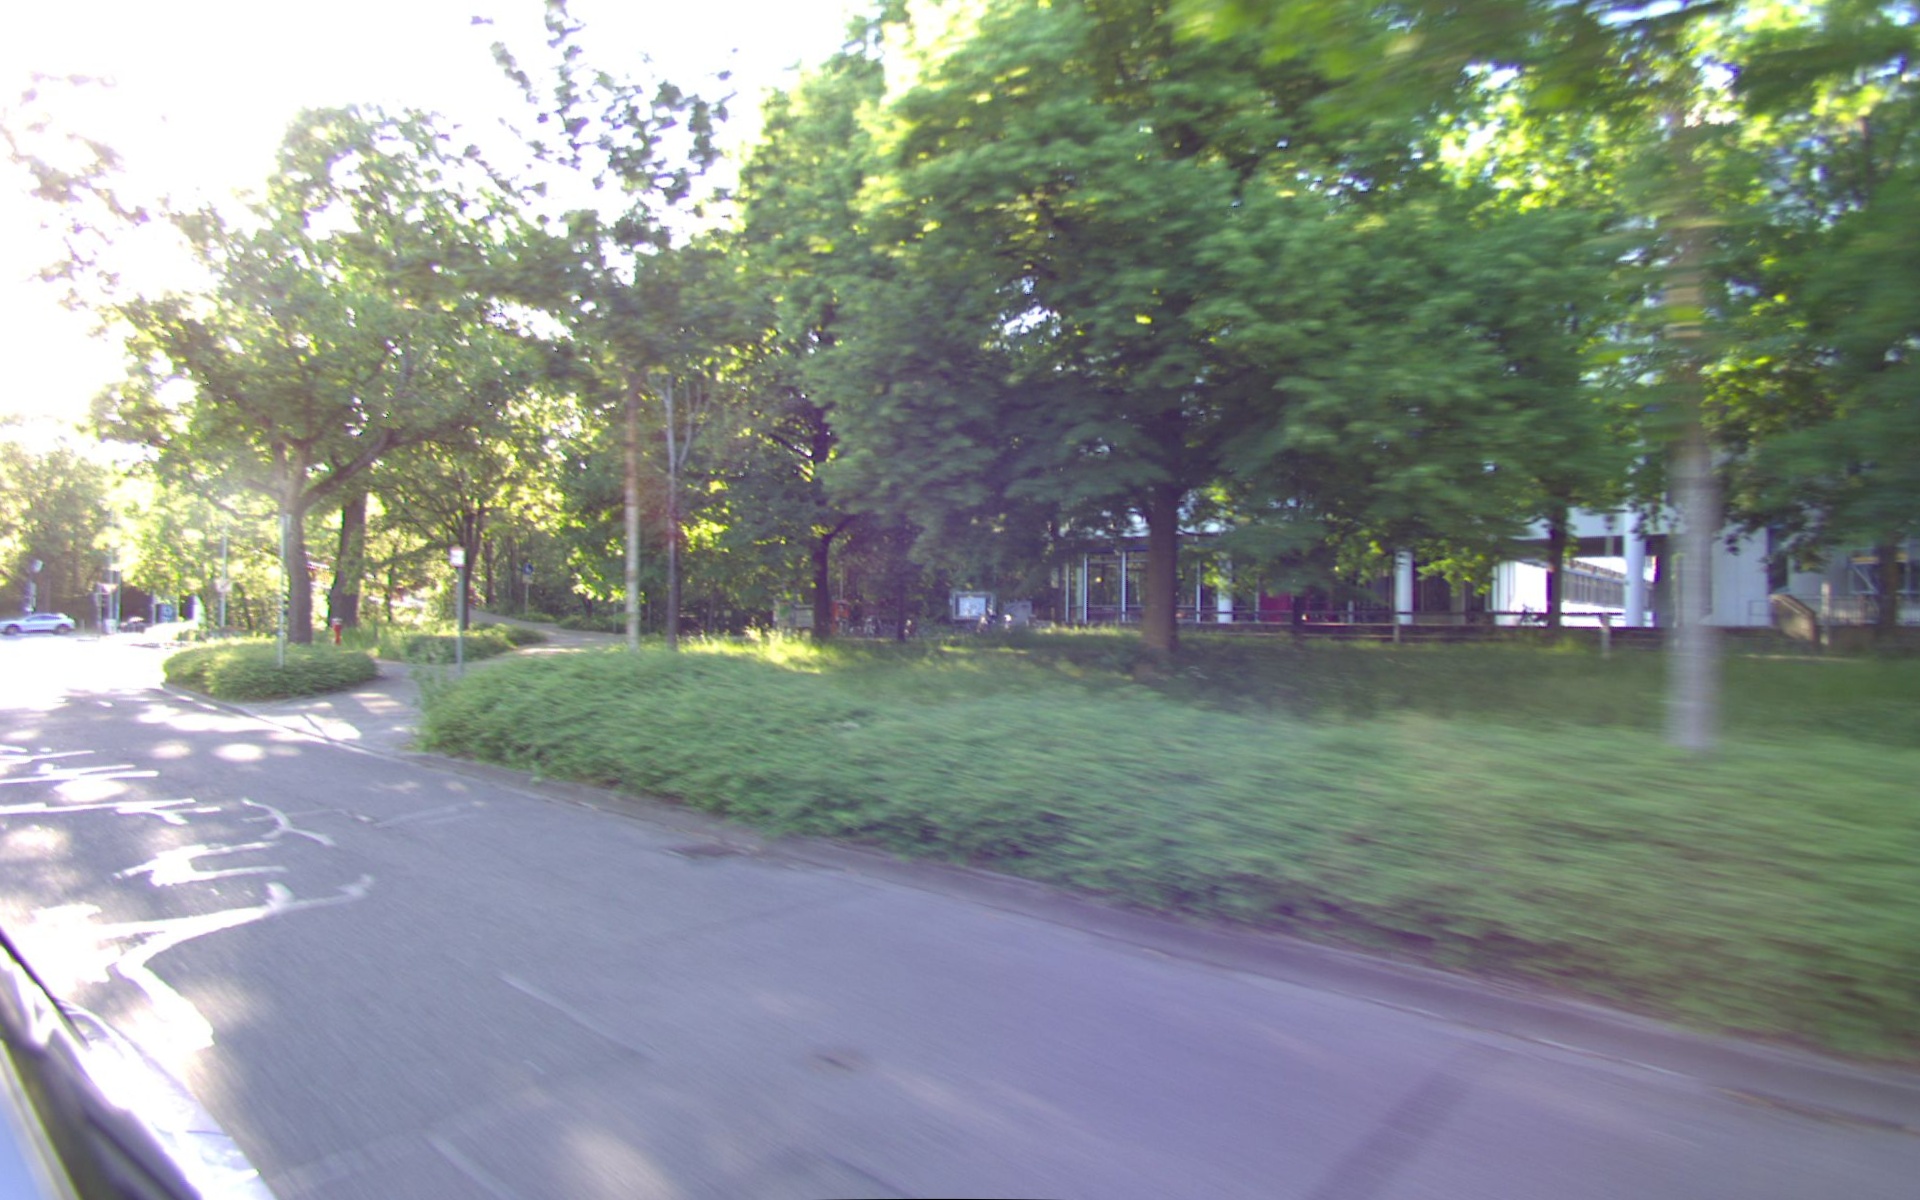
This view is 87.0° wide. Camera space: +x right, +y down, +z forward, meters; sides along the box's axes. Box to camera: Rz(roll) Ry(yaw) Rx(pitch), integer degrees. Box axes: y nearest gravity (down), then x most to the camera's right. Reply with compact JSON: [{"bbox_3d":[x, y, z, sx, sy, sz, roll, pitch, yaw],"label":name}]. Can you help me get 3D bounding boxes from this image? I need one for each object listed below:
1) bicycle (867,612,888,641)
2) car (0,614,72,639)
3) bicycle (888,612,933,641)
[{"bbox_3d":[-3.303,1.041,40.395,0.528,1.079,2.435,-3,0,-10],"label":"bicycle"},{"bbox_3d":[-70.335,2.010,76.780,1.571,1.774,4.311,-1,0,40],"label":"car"},{"bbox_3d":[-1.989,1.067,40.242,0.528,1.079,2.642,-4,1,-31],"label":"bicycle"}]
